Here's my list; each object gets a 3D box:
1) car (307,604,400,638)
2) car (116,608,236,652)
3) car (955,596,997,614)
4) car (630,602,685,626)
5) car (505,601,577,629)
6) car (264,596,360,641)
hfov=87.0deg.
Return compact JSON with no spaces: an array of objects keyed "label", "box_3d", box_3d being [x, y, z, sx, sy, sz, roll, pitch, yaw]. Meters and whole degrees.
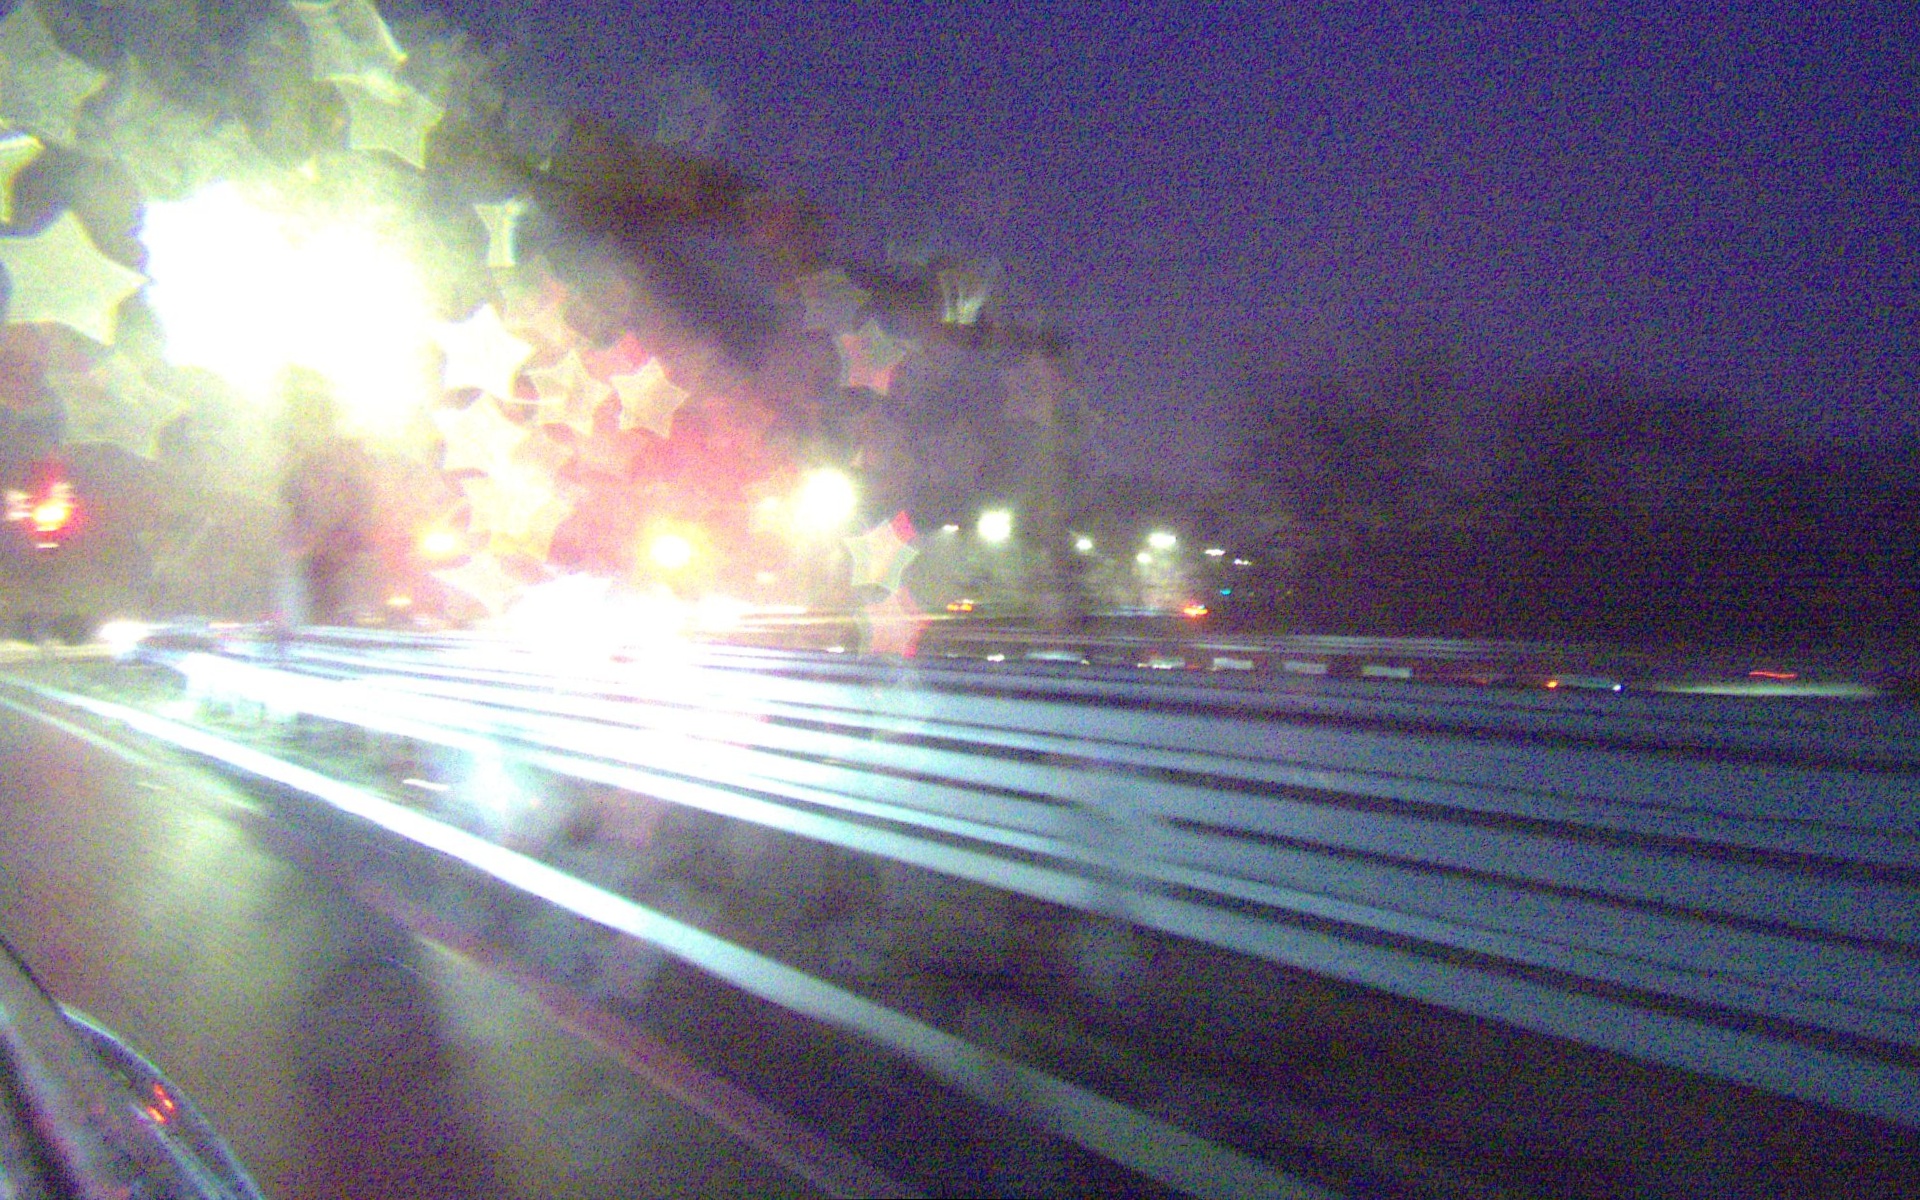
[{"label":"car","box_3d":[-27.533,0.928,46.044,1.587,1.438,3.319,0,0,27]},{"label":"car","box_3d":[-35.670,1.323,46.157,1.746,1.854,3.978,0,0,27]},{"label":"car","box_3d":[1.349,0.411,85.056,1.794,1.463,4.226,-1,-1,29]},{"label":"car","box_3d":[-22.015,0.998,73.801,1.606,1.687,3.752,-1,0,30]},{"label":"car","box_3d":[-24.743,0.862,59.896,1.746,1.554,3.760,0,0,25]},{"label":"car","box_3d":[-30.685,0.837,48.041,1.580,2.029,3.772,0,0,16]}]
